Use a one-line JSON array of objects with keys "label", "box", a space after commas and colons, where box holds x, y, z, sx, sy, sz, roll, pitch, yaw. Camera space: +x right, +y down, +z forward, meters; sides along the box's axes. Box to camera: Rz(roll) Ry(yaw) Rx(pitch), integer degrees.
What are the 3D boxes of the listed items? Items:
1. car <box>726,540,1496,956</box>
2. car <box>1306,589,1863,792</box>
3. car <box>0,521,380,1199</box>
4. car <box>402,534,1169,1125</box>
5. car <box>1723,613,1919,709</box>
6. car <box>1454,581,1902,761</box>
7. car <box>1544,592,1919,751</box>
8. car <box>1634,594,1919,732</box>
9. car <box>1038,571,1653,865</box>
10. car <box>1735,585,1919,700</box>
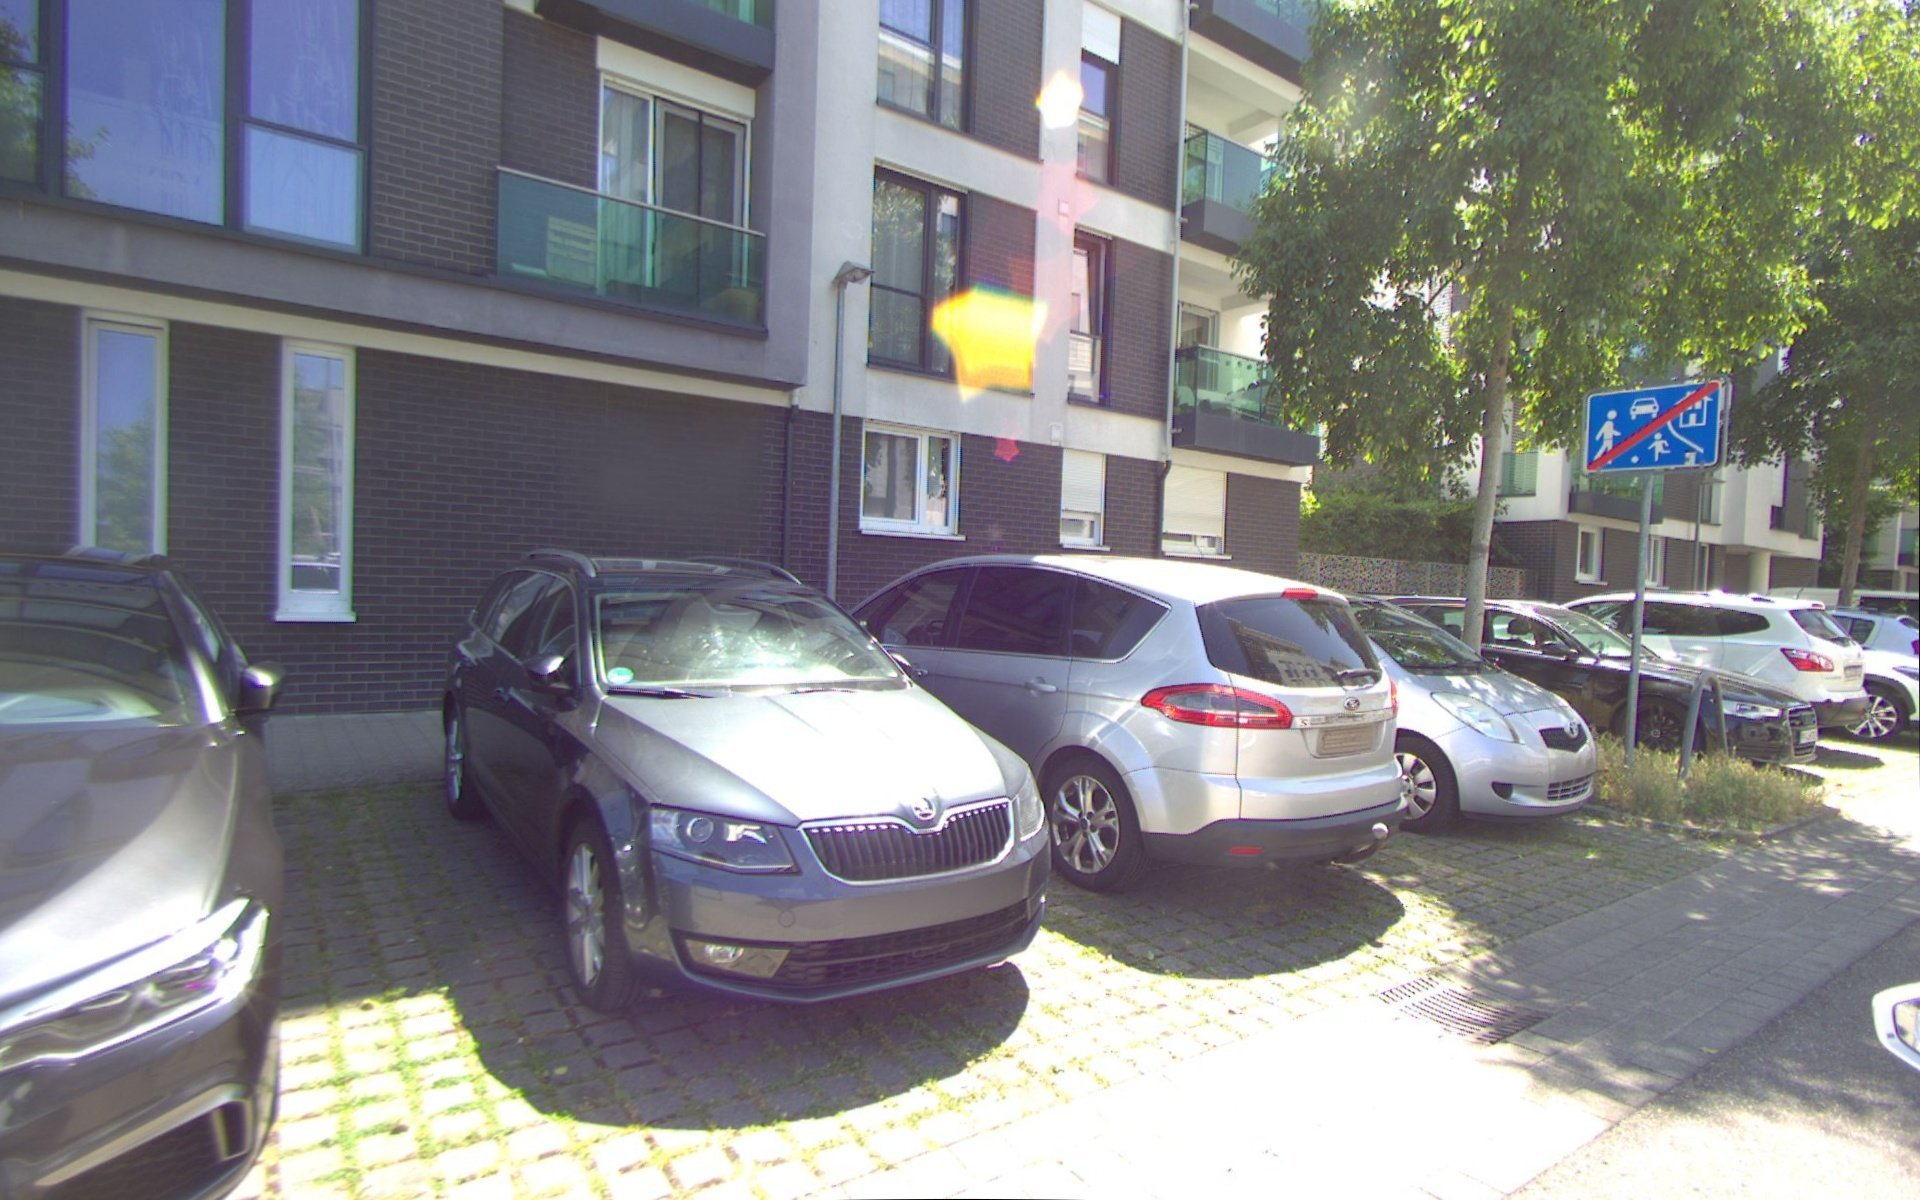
[{"label": "car", "box": [0.459, 0.505, 6.596, 2.023, 1.654, 4.990, 1, 2, -37]}, {"label": "car", "box": [6.433, 0.767, 11.007, 1.811, 1.476, 4.818, 1, 3, -34]}, {"label": "car", "box": [-3.458, 0.508, 3.454, 1.910, 1.505, 5.060, 2, 1, -37]}, {"label": "car", "box": [-1.415, 0.511, 5.101, 1.811, 1.468, 4.781, 2, 3, -37]}, {"label": "car", "box": [16.597, 1.083, 17.908, 1.981, 1.509, 4.388, 1, 1, -37]}, {"label": "car", "box": [8.507, 0.709, 12.265, 1.929, 1.651, 3.956, 2, 2, -33]}, {"label": "car", "box": [10.770, 0.849, 13.569, 1.950, 1.615, 4.519, 1, 3, -40]}, {"label": "car", "box": [12.747, 0.861, 15.305, 1.834, 1.698, 3.654, 1, 2, -35]}, {"label": "car", "box": [2.737, 0.651, 8.032, 1.806, 1.551, 4.218, 1, 3, -38]}, {"label": "car", "box": [18.804, 0.822, 19.670, 2.164, 2.139, 5.310, 1, 1, -33]}]
